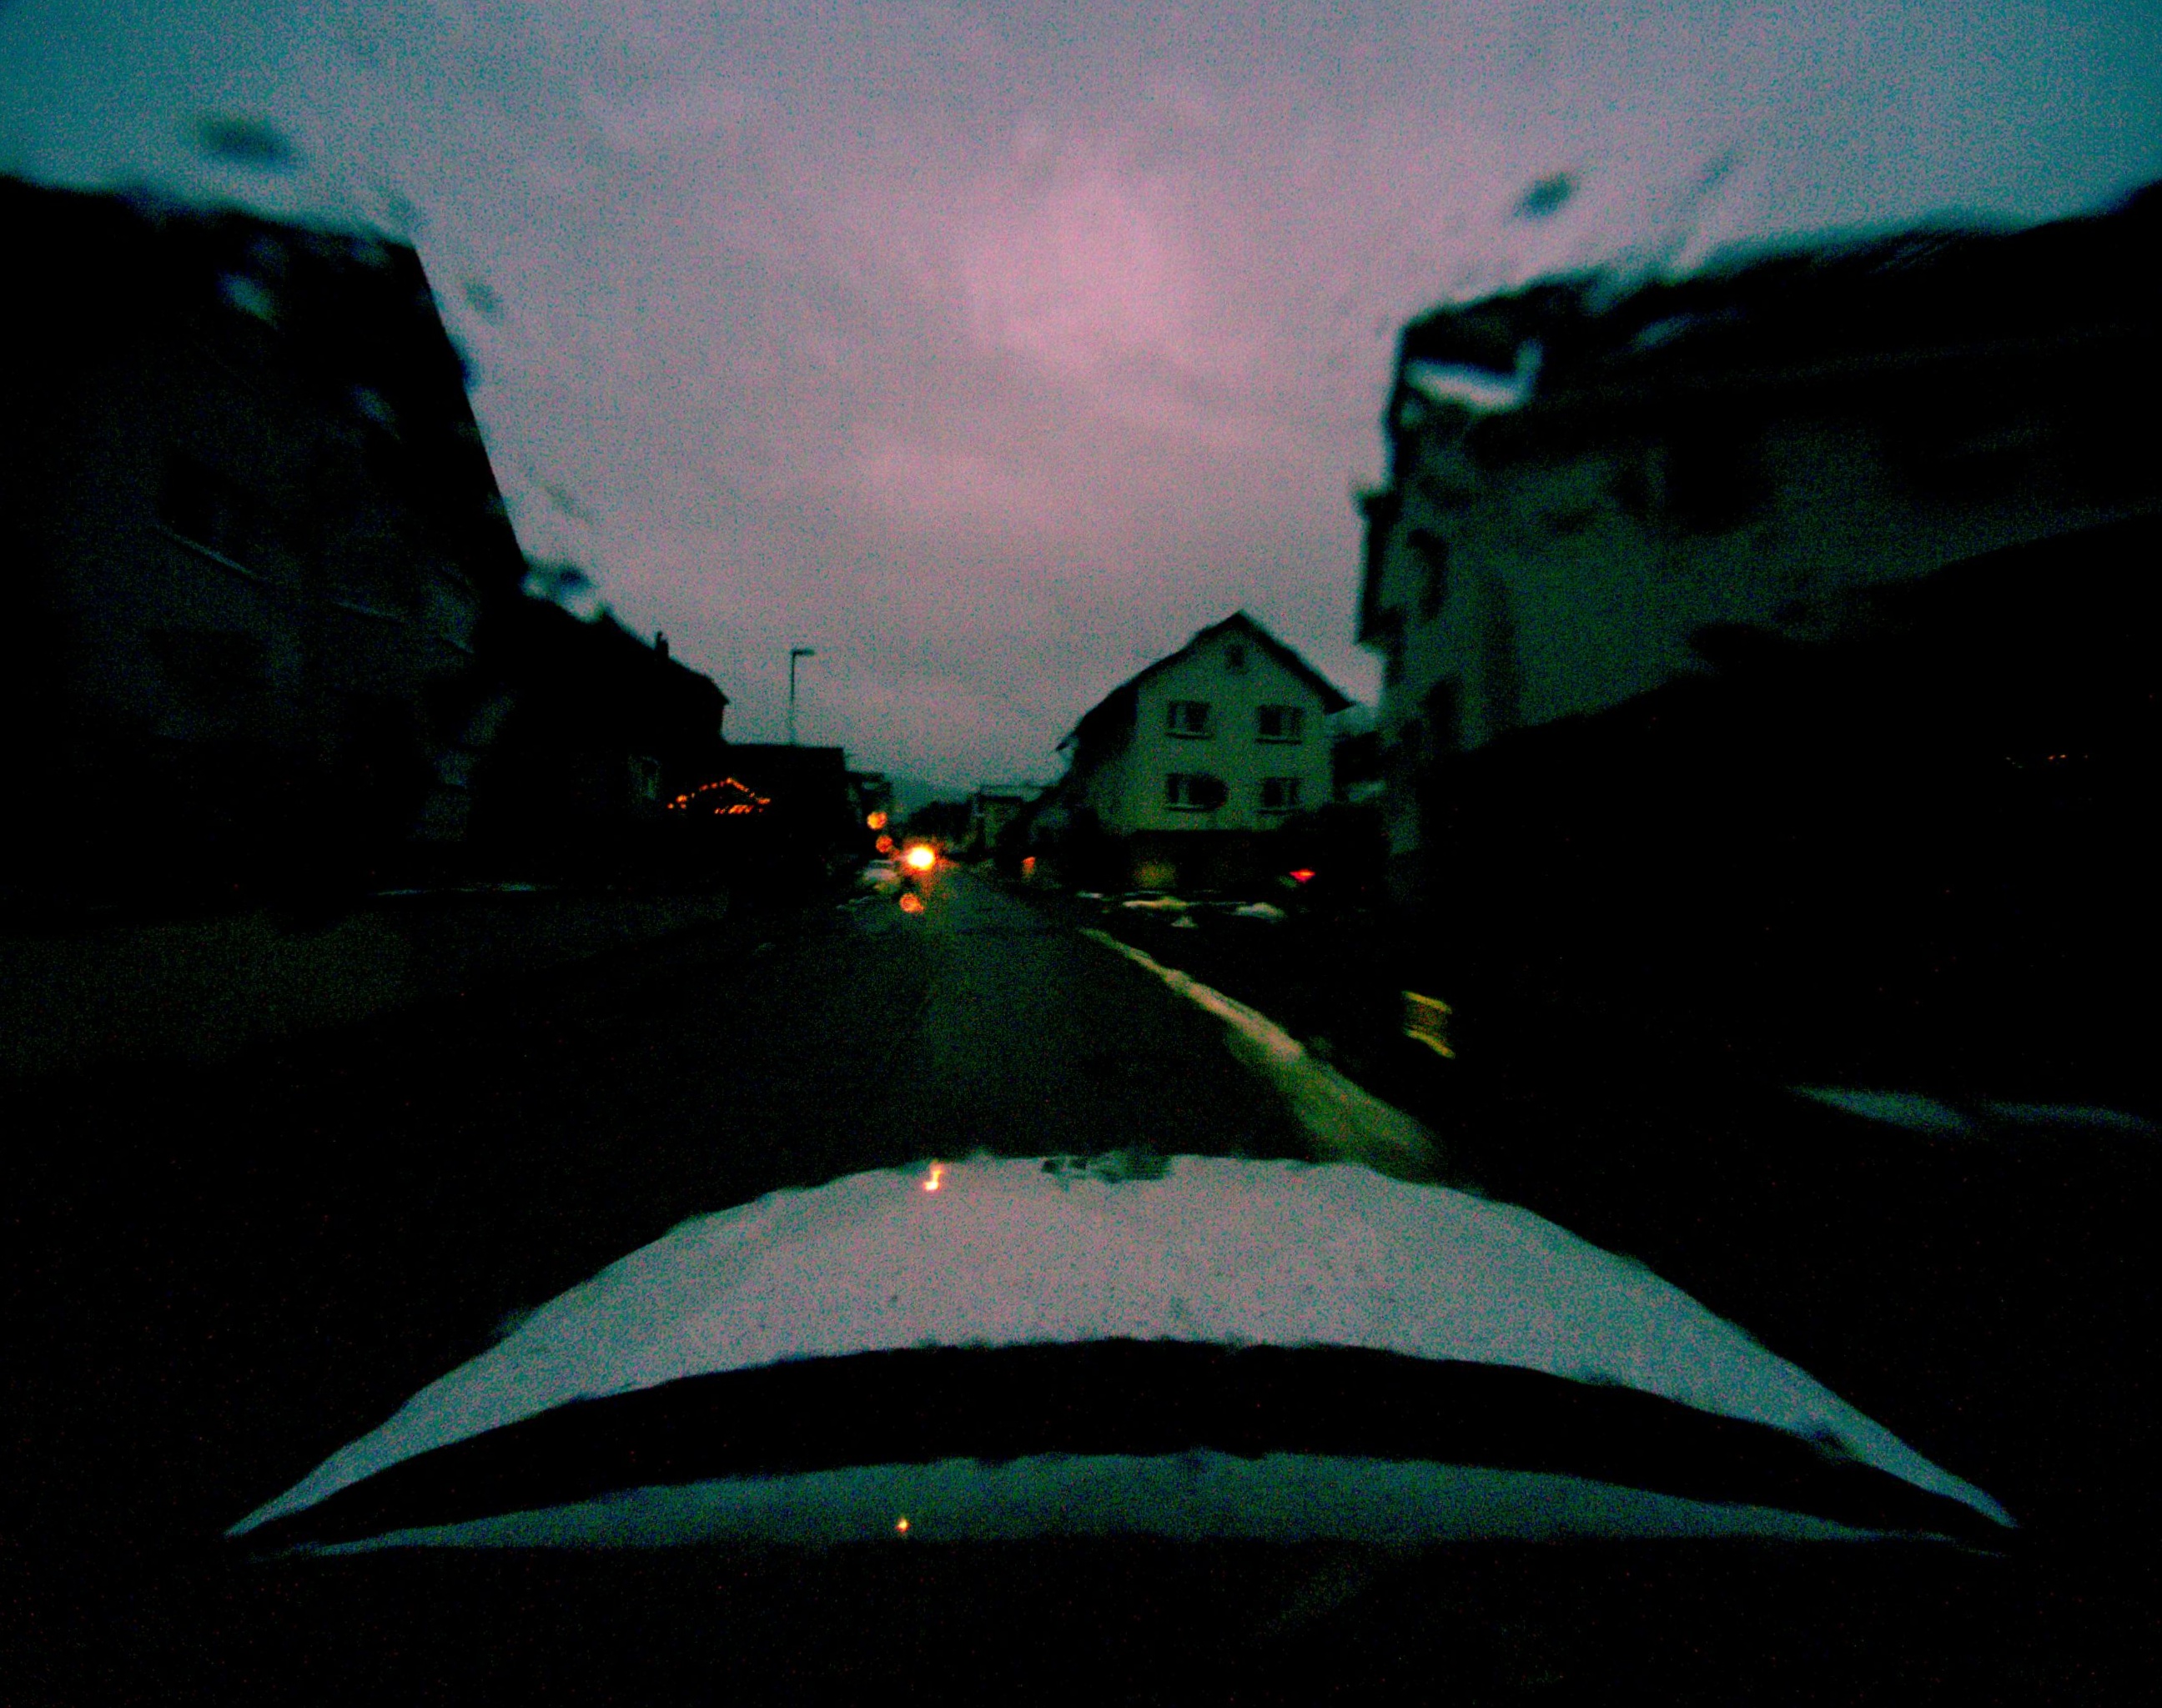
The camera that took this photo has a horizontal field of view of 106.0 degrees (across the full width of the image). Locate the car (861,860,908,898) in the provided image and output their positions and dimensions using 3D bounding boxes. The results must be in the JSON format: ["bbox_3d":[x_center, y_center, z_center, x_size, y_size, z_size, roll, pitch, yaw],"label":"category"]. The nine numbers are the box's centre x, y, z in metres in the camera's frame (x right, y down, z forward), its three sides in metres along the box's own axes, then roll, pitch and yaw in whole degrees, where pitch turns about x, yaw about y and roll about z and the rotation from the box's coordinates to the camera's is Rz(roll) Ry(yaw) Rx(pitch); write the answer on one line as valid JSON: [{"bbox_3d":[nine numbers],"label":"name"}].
[{"bbox_3d":[-7.902,0.962,32.989,1.619,1.438,3.643,-1,0,-10],"label":"car"}]

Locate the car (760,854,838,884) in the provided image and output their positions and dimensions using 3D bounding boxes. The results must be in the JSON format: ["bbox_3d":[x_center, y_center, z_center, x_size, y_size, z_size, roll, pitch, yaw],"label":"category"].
[{"bbox_3d":[-14.567,0.779,42.233,3.460,1.528,1.769,0,0,-7],"label":"car"}]

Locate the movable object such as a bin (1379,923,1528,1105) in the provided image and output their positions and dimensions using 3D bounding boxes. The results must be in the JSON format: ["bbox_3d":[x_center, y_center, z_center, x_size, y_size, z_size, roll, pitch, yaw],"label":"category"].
[{"bbox_3d":[2.190,0.910,4.856,0.536,0.938,0.688,0,0,-5],"label":"movable object such as a bin"}]

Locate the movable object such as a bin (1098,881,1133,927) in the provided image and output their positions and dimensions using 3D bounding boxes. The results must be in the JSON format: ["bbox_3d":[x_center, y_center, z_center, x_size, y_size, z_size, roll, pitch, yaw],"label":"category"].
[{"bbox_3d":[0.698,1.021,16.767,0.636,0.917,0.684,0,0,-5],"label":"movable object such as a bin"}]

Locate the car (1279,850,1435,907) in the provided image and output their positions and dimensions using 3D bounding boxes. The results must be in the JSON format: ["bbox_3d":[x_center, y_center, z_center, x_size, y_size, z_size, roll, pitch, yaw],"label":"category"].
[{"bbox_3d":[8.212,0.704,24.439,3.981,1.618,1.997,0,0,-5],"label":"car"}]

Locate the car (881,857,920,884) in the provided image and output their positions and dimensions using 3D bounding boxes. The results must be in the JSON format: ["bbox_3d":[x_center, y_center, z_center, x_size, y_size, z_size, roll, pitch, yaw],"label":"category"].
[{"bbox_3d":[-9.895,0.872,44.933,1.878,1.394,5.057,-1,0,-10],"label":"car"}]
